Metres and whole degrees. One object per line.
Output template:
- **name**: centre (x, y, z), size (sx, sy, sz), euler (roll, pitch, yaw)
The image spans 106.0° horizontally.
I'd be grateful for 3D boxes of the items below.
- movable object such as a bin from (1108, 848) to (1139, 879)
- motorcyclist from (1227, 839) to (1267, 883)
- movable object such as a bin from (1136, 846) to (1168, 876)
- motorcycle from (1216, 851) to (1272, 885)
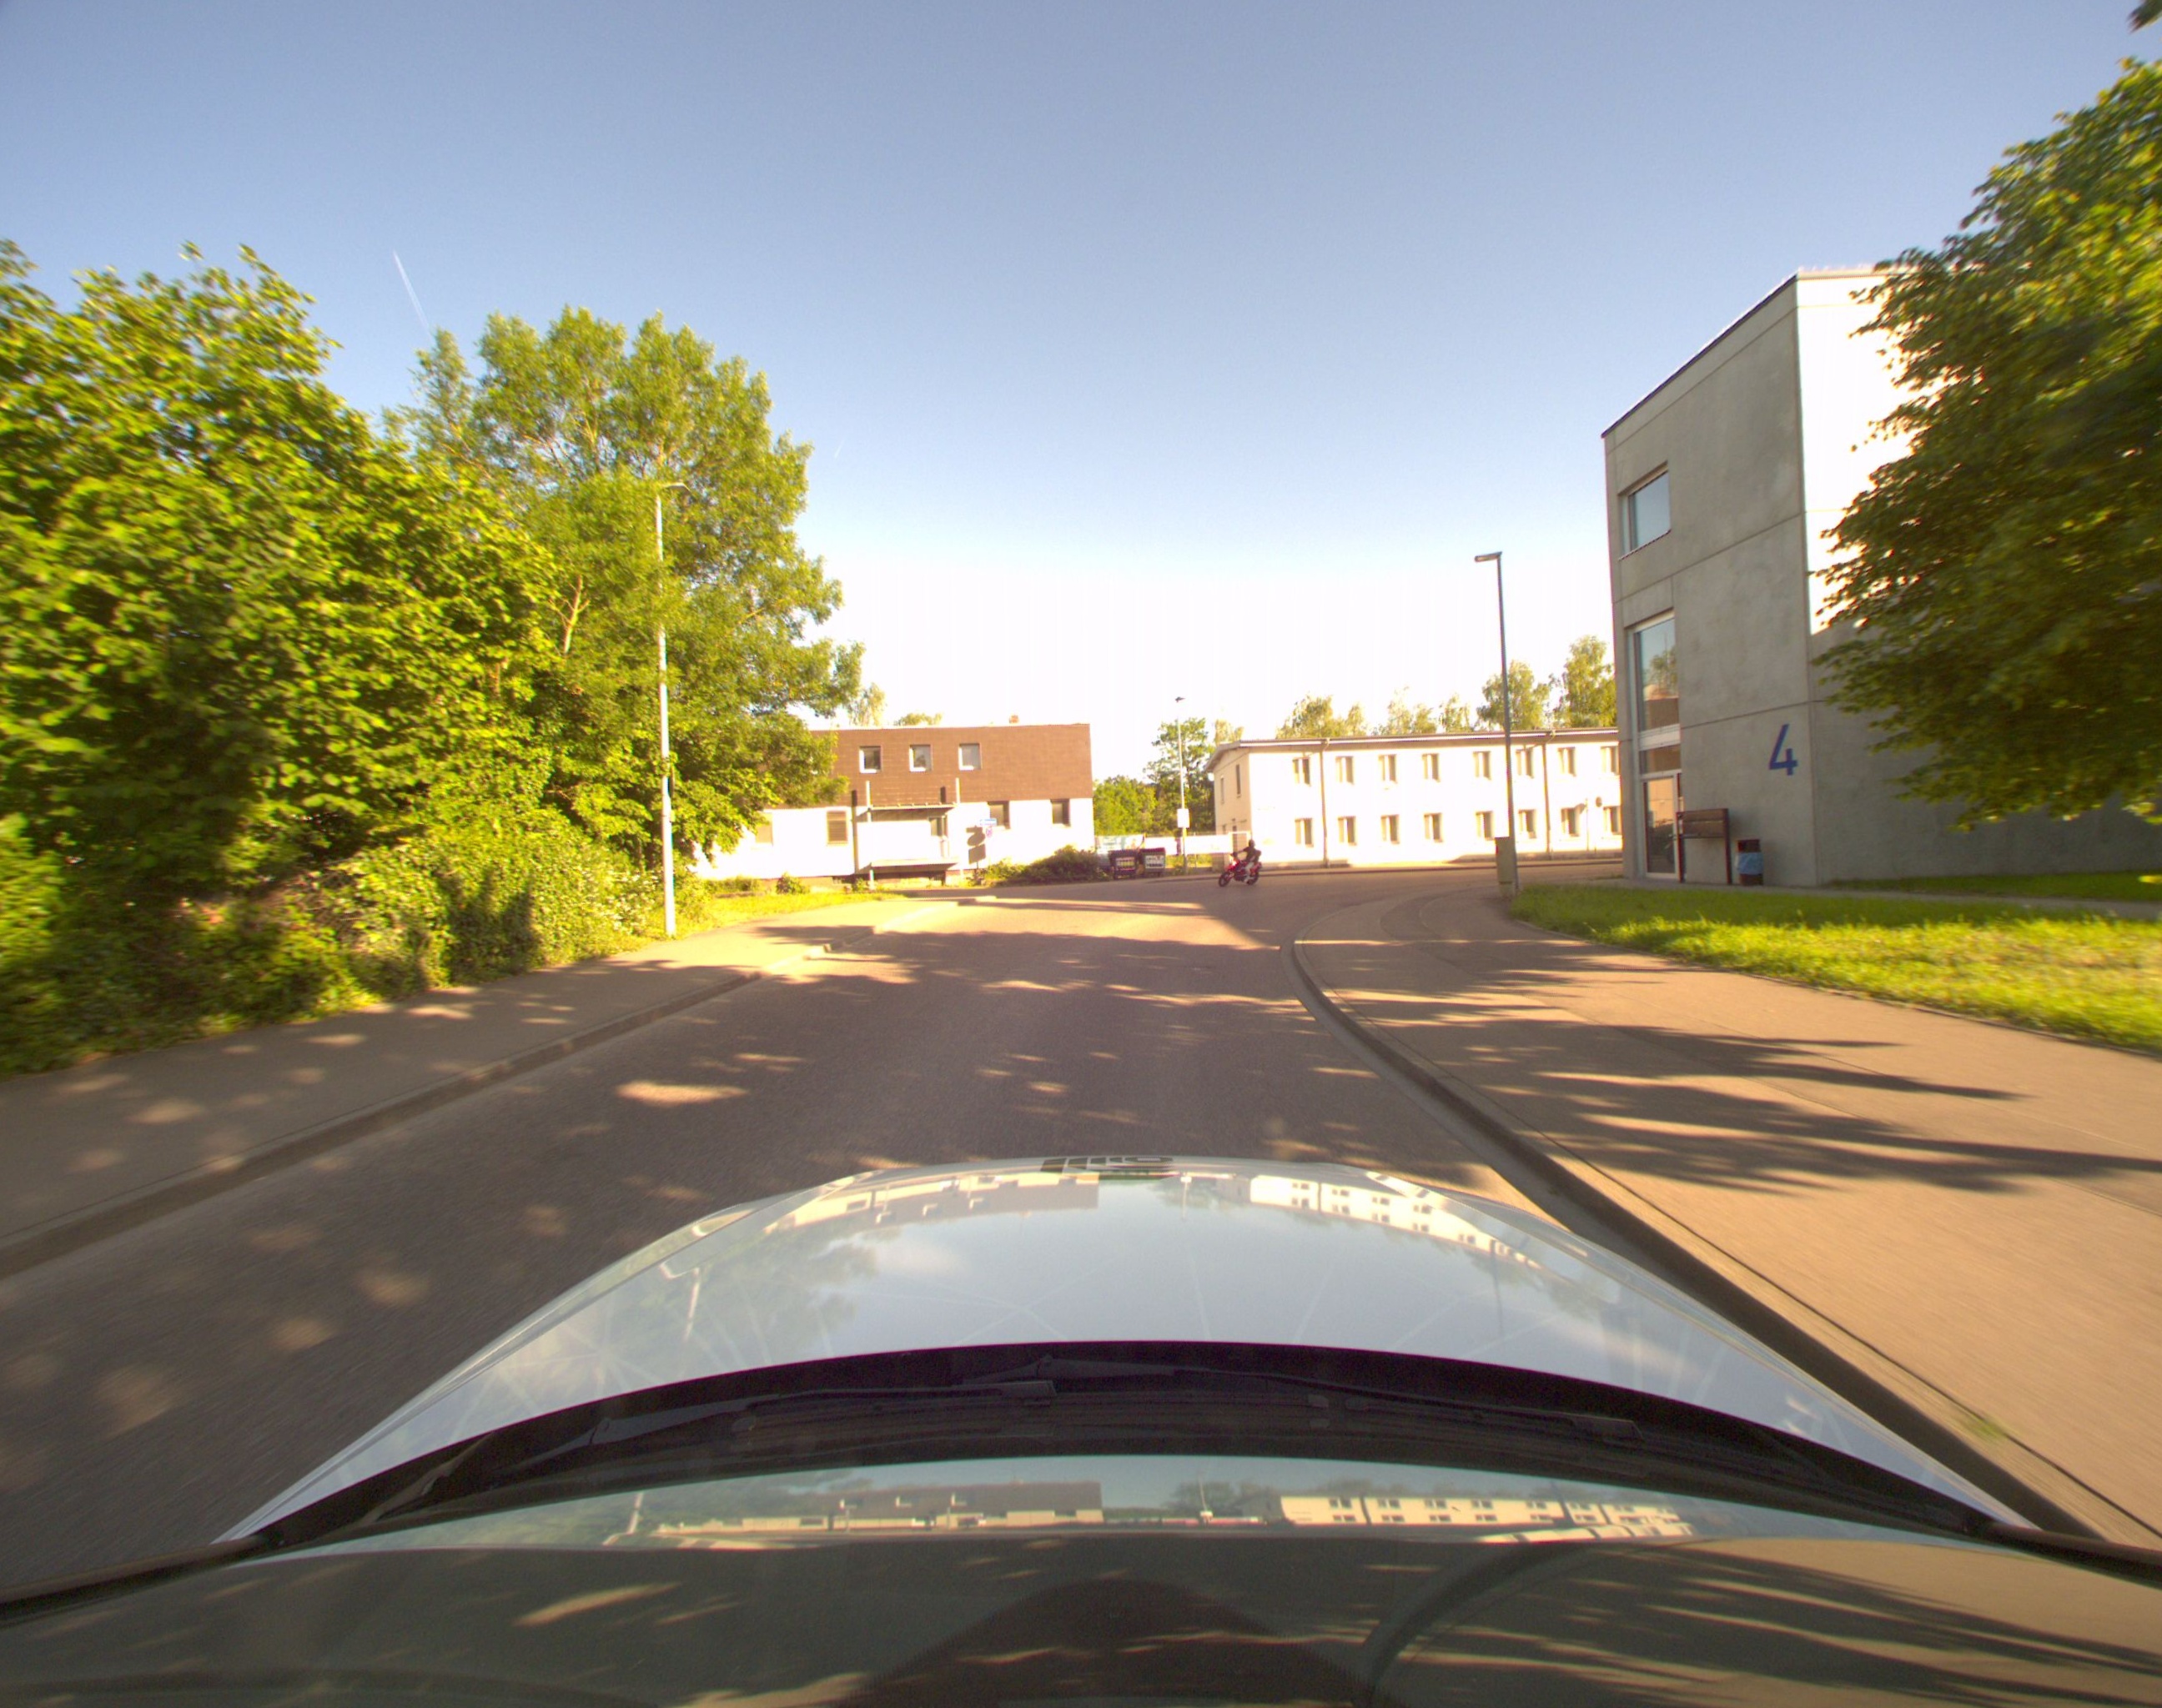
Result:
- **movable object such as a bin**: centre (2.025, 0.465, 38.908), size (1.363, 1.418, 1.063), euler (1, -1, -6)
- **motorcyclist**: centre (6.029, 0.245, 29.629), size (0.903, 1.553, 1.019), euler (2, 1, -41)
- **movable object such as a bin**: centre (3.397, 0.349, 39.242), size (1.363, 1.418, 1.063), euler (1, -1, -6)
- **motorcycle**: centre (5.929, 0.496, 29.563), size (2.047, 1.186, 0.951), euler (-1, 0, -41)
